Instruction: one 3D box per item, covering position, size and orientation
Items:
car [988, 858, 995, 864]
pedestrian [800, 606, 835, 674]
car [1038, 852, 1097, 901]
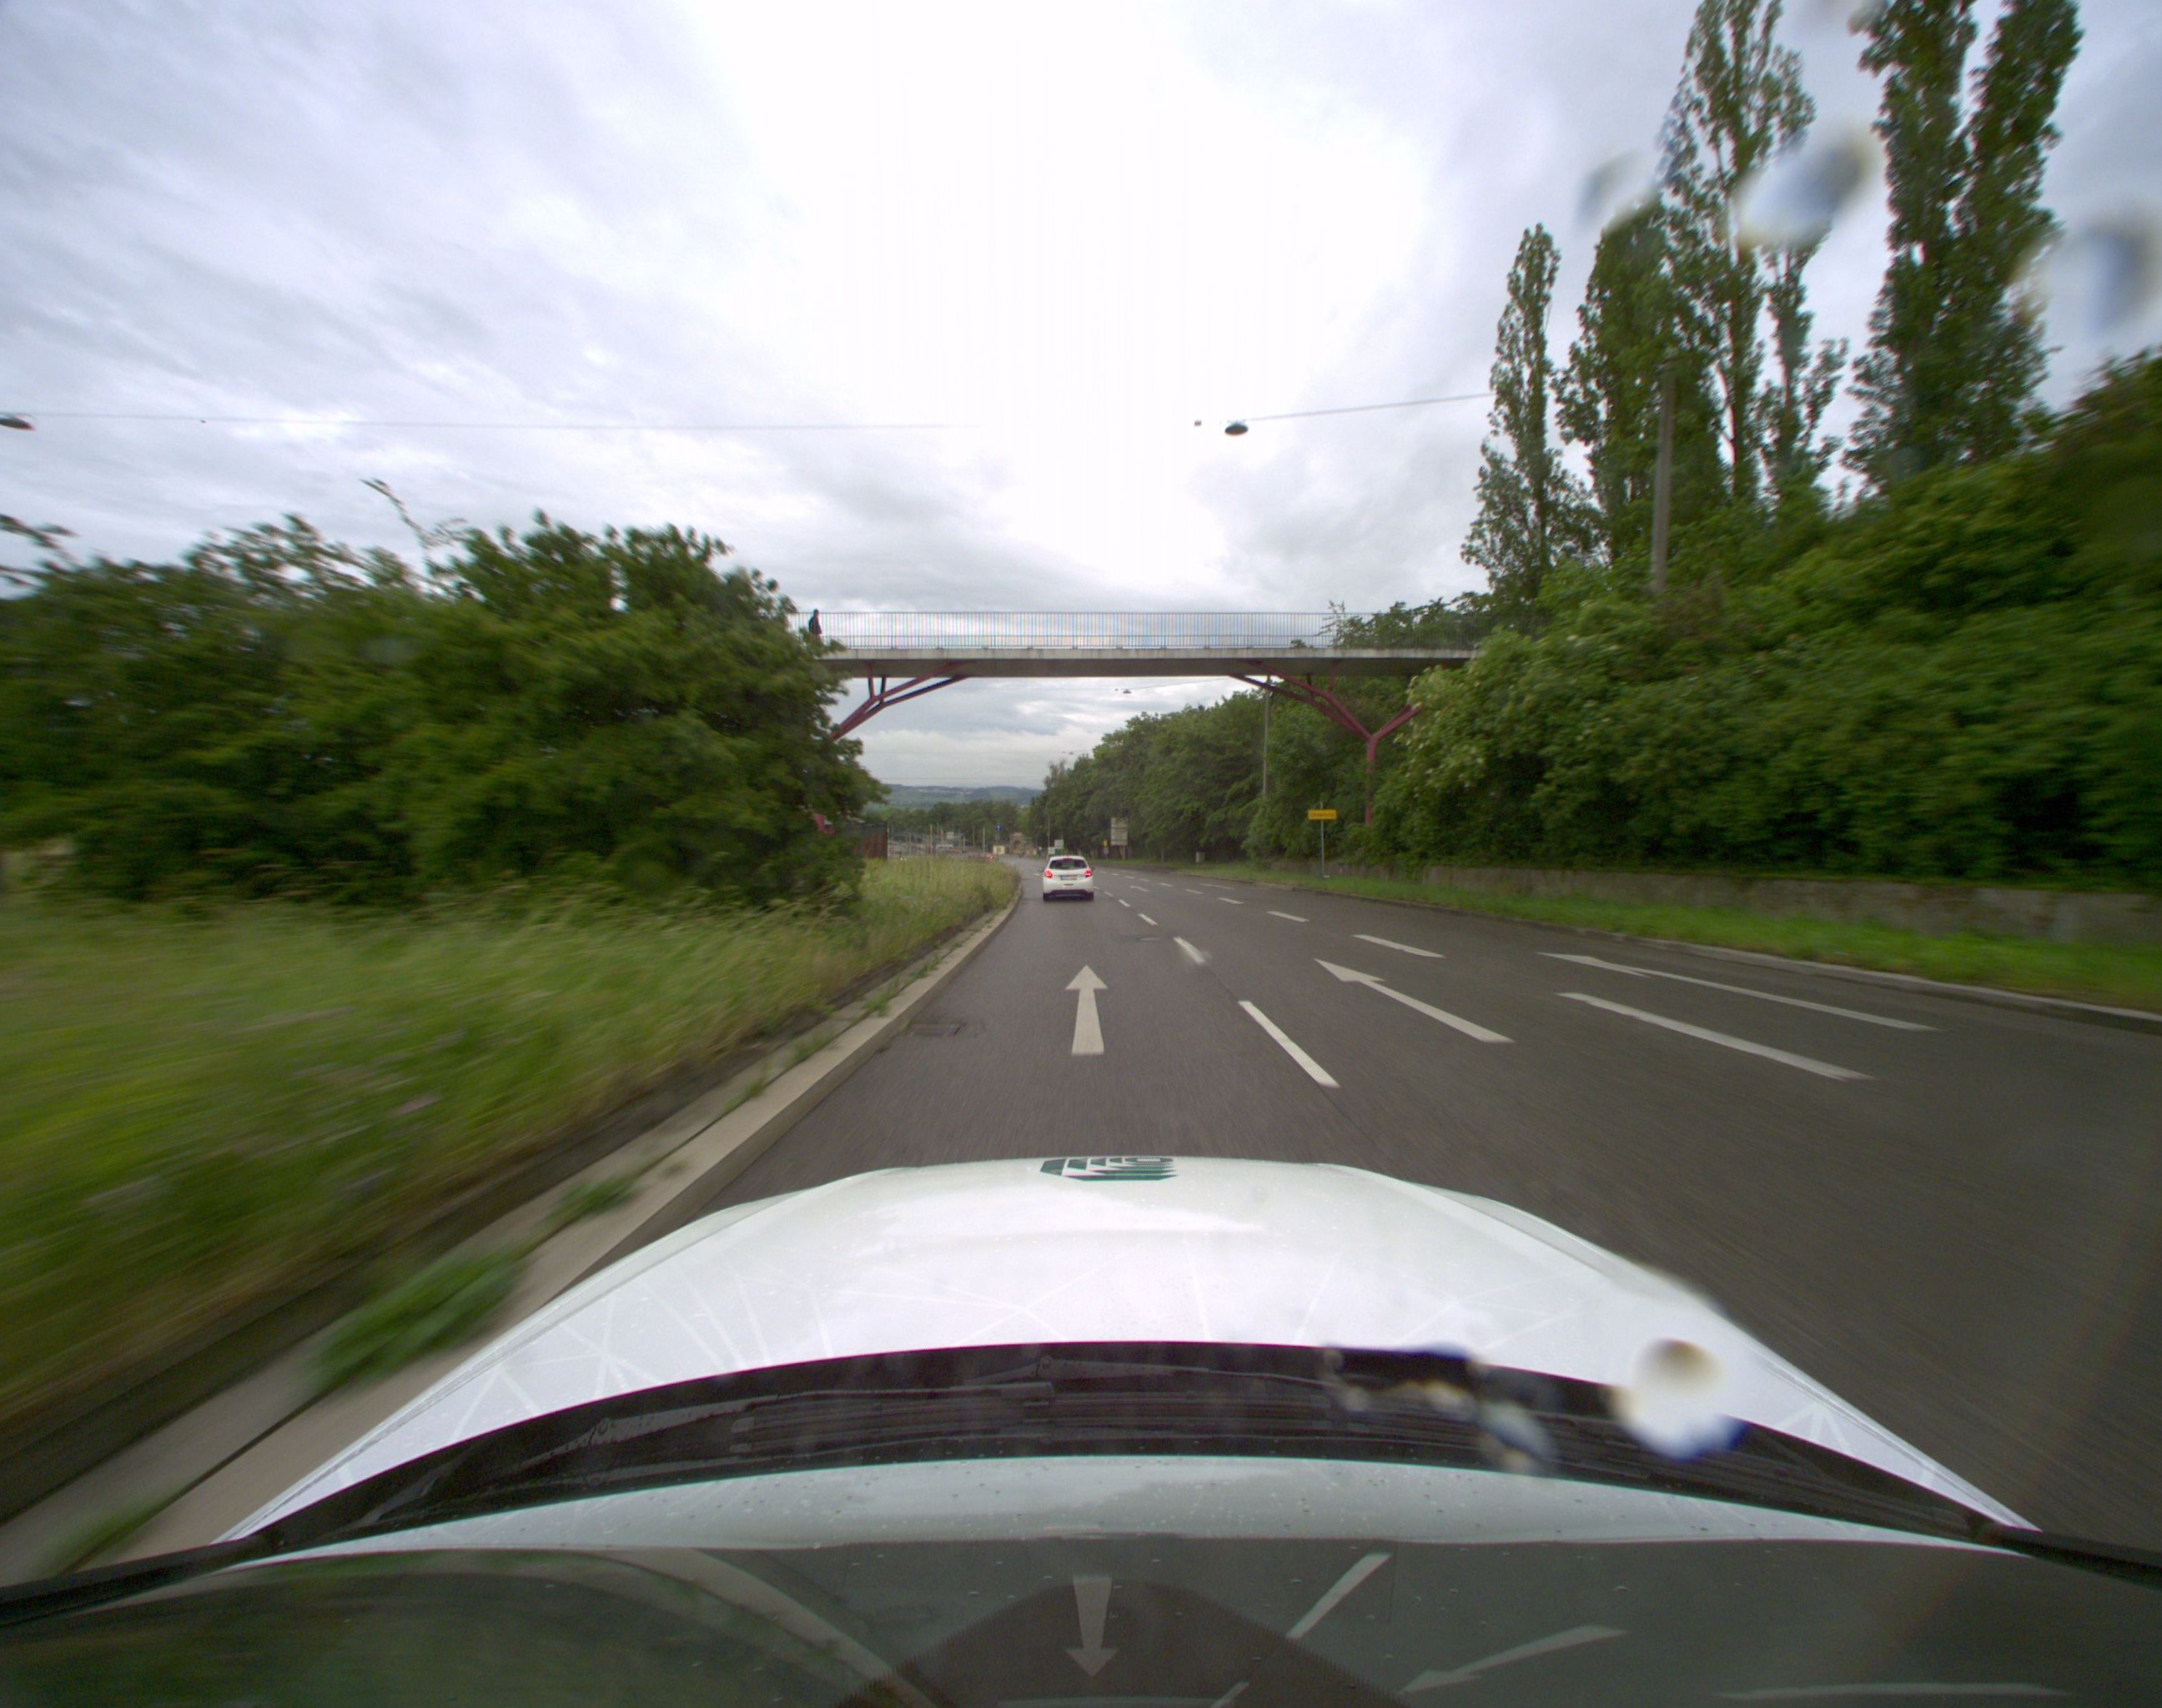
[{"bbox_3d":[-26.674,2.015,242.925,1.820,1.606,3.992,-3,0,-6],"label":"car"},{"bbox_3d":[-9.155,-7.414,28.286,0.912,2.143,0.731,-3,0,-4],"label":"pedestrian"},{"bbox_3d":[-0.502,0.713,27.957,1.864,1.511,3.896,-1,1,-2],"label":"car"}]
